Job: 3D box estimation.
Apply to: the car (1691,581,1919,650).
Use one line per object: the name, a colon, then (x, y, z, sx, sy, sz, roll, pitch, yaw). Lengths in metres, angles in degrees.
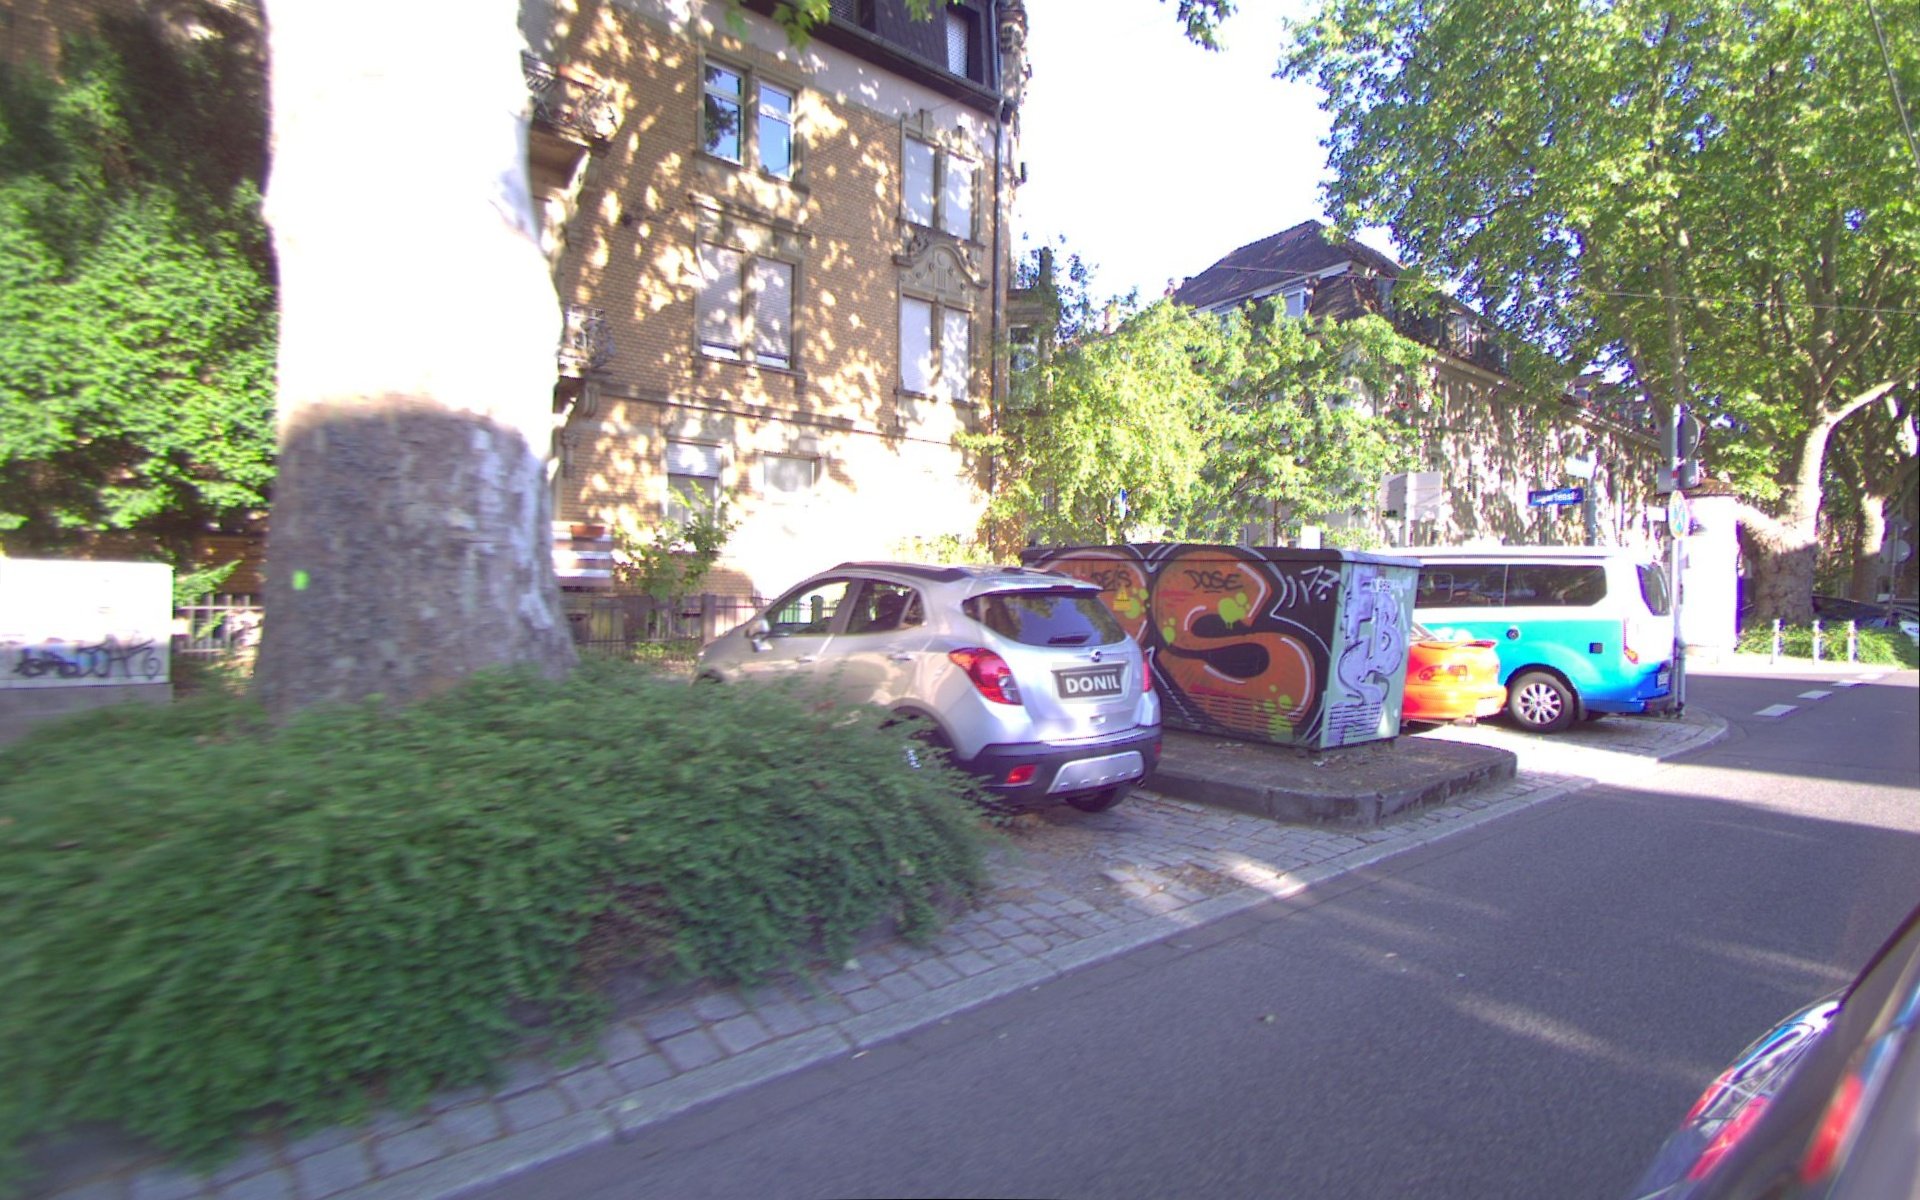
car: (23.594, 0.372, 28.282, 1.859, 1.651, 4.808, 1, 1, -40)

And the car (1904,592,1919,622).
car: (56.770, 0.481, 57.318, 1.858, 1.661, 4.613, 1, 1, -38)

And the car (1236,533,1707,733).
car: (6.253, 0.223, 12.841, 2.158, 2.038, 4.851, 0, 3, -44)

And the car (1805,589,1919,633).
car: (36.695, 0.432, 40.119, 1.858, 1.585, 4.613, 1, 1, -38)

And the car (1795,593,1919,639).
car: (33.544, 0.592, 36.772, 1.858, 1.513, 4.613, 1, 1, -38)

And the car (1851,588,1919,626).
car: (43.282, 0.350, 45.457, 1.858, 1.661, 4.613, 1, 1, -38)

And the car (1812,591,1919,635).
car: (35.327, 0.491, 38.125, 1.858, 1.513, 4.613, 1, 1, -38)

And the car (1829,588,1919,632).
car: (38.455, 0.436, 41.034, 1.858, 1.661, 4.613, 1, 1, -38)

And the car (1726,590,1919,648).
car: (25.437, 0.507, 29.785, 1.861, 1.462, 4.363, 1, 1, -43)

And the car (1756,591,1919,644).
car: (28.992, 0.537, 32.868, 1.858, 1.513, 4.613, 1, 1, -38)

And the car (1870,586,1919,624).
car: (48.039, 0.310, 49.780, 1.858, 1.814, 4.613, 1, 1, -38)

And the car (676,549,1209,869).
car: (-0.341, 0.505, 7.308, 1.760, 1.638, 3.788, 0, 3, -42)

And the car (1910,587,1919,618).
car: (58.485, 0.255, 58.719, 1.858, 1.814, 4.613, 1, 1, -38)

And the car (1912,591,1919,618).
car: (63.771, 0.376, 64.246, 1.858, 1.736, 4.613, 1, 1, -38)

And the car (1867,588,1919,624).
car: (46.304, 0.328, 48.018, 1.858, 1.661, 4.613, 1, 1, -38)

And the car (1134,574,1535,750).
car: (4.012, 0.534, 11.285, 1.760, 1.506, 3.788, 0, 3, -42)

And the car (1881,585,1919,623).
car: (52.463, 0.271, 54.015, 1.858, 2.038, 4.639, 1, 1, -38)
